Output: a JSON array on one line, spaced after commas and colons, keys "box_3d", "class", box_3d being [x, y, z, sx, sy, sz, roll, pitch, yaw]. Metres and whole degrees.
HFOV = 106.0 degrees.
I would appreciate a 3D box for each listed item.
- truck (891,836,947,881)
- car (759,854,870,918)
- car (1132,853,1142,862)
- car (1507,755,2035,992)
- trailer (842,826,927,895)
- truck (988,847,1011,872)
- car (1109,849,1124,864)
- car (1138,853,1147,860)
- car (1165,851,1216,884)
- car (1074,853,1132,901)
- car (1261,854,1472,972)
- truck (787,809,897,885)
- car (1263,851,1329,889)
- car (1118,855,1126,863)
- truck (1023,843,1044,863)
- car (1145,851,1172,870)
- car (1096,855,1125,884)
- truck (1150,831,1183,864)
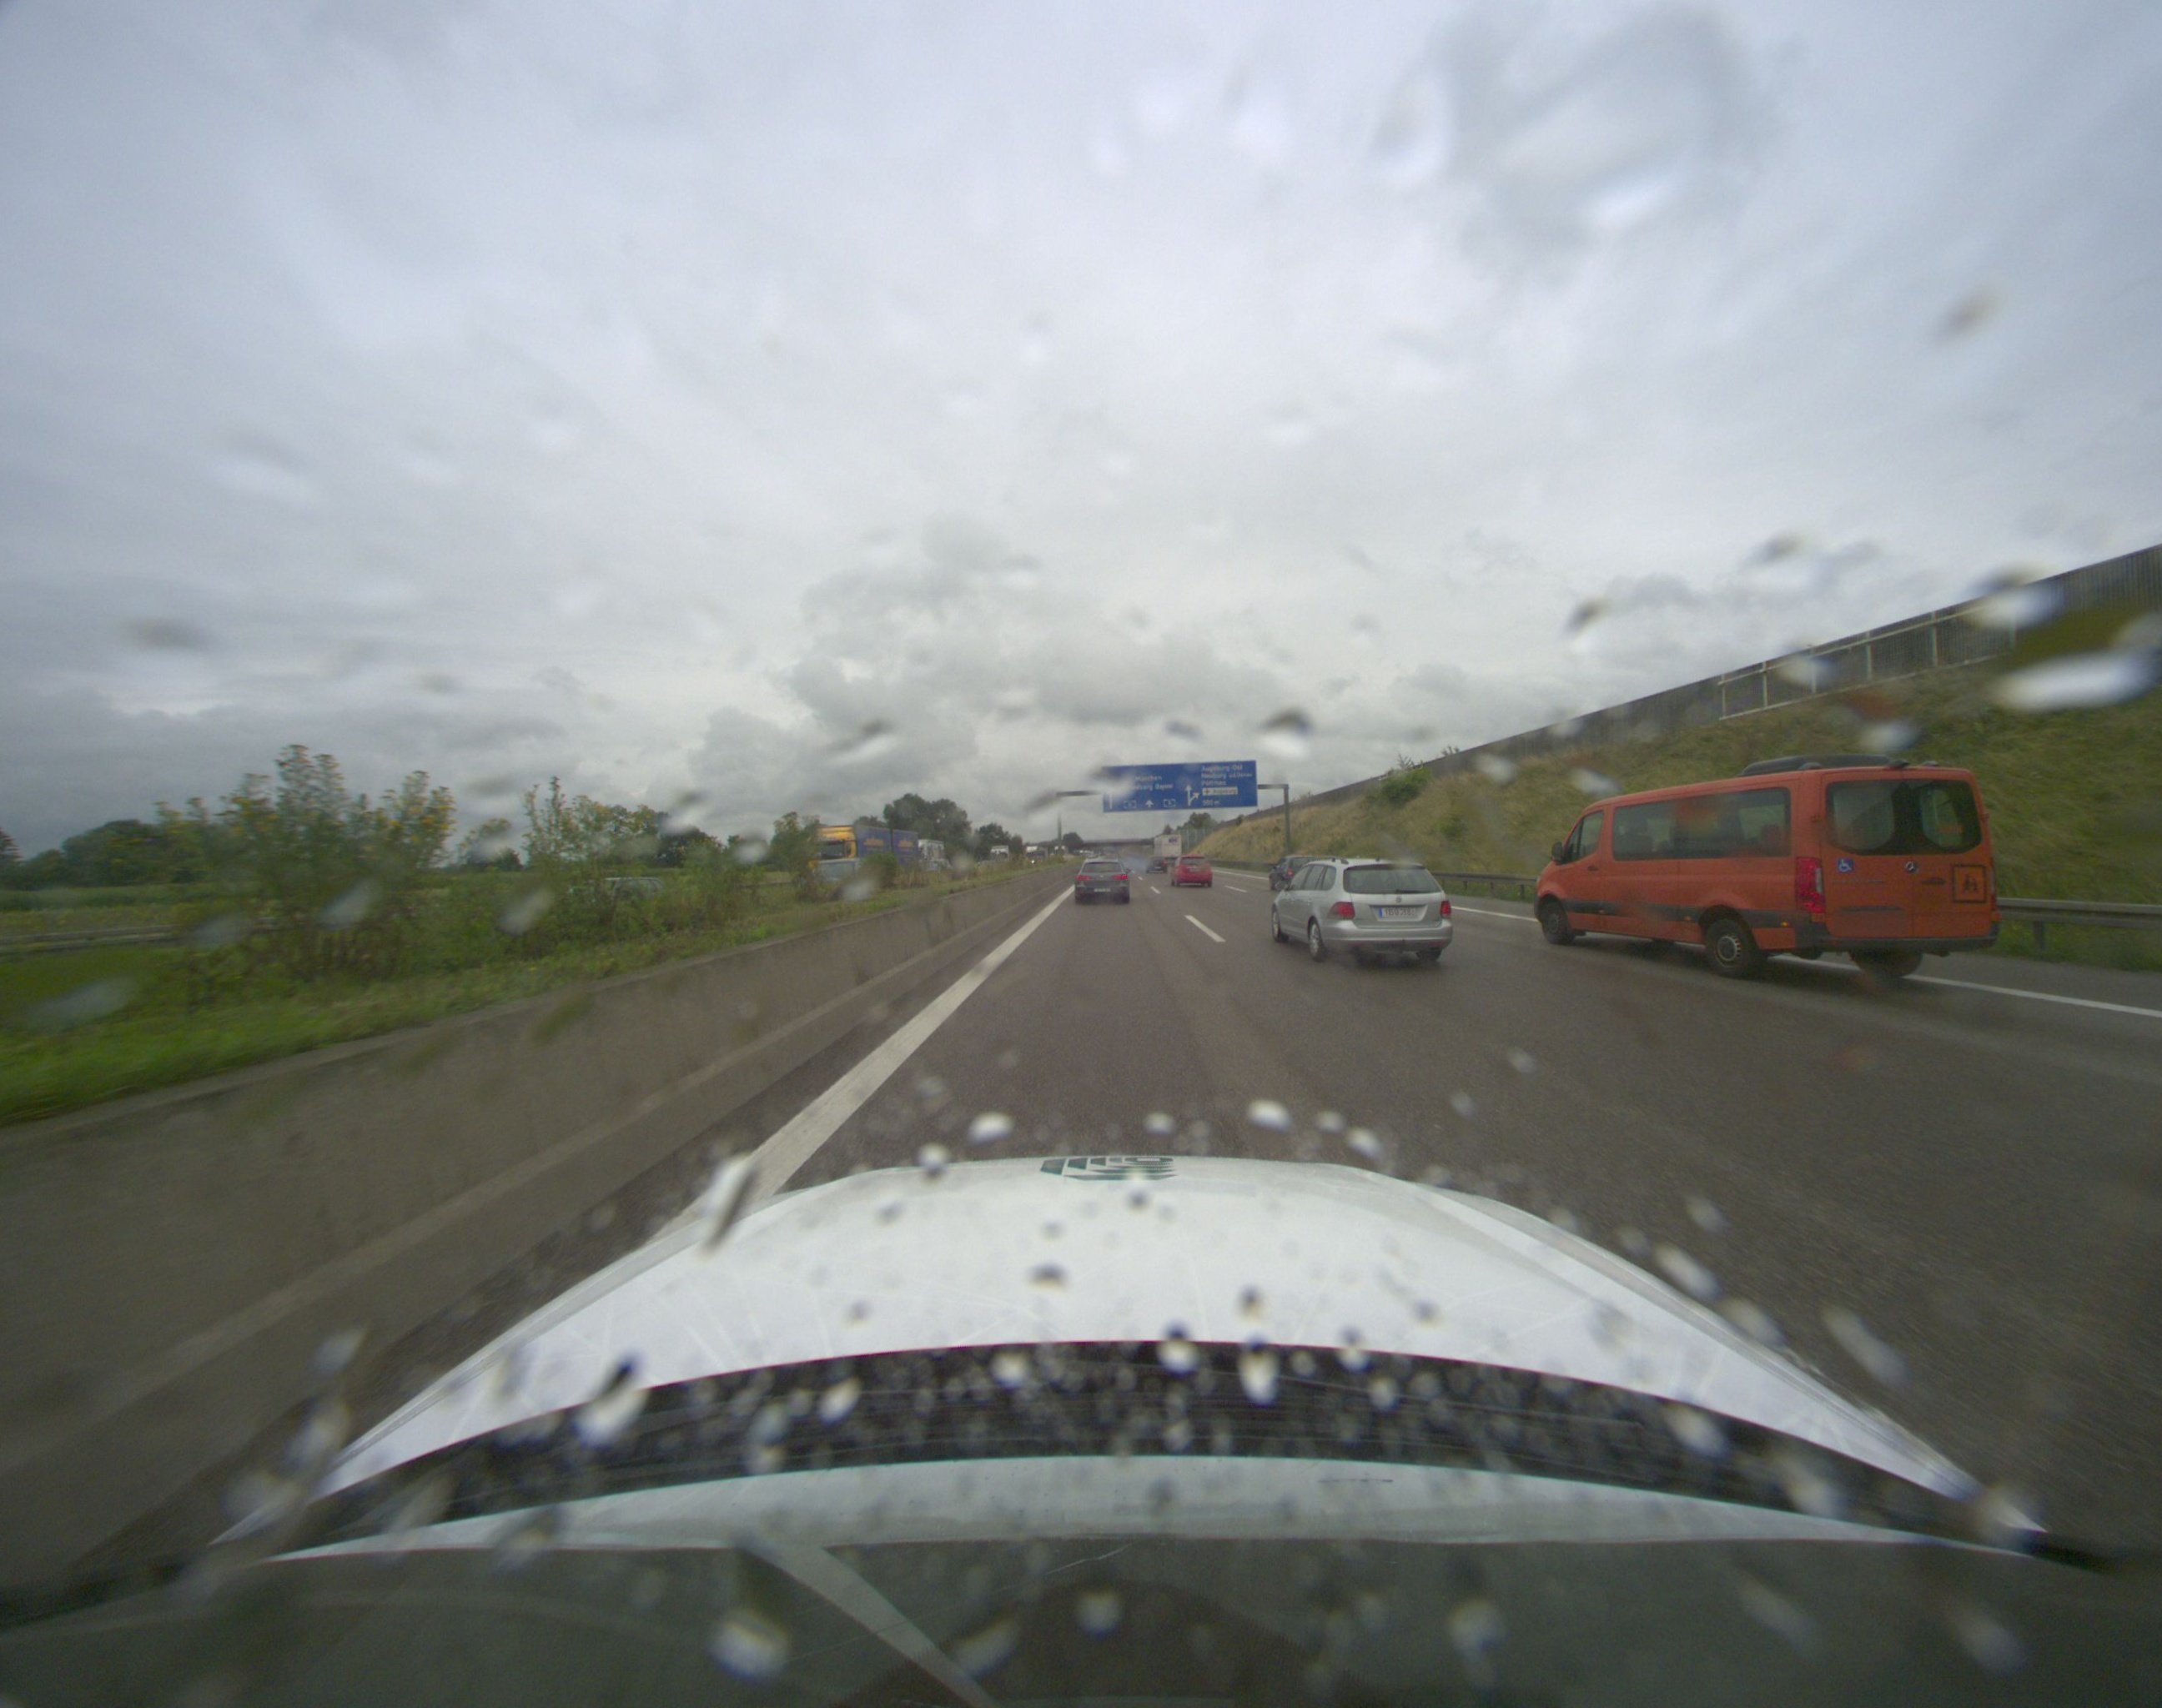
[{"box_3d": [-17.149, 0.455, 87.299, 3.500, 4.484, 11.788, 0, 0, 1], "class": "truck"}, {"box_3d": [-8.110, 0.915, 25.153, 1.986, 1.816, 4.002, 0, 0, 2], "class": "car"}, {"box_3d": [10.338, 0.657, 150.611, 1.839, 1.687, 4.001, 0, 0, 1], "class": "car"}, {"box_3d": [8.509, 0.188, 11.225, 2.078, 2.315, 6.182, -1, 0, 1], "class": "car"}, {"box_3d": [-14.731, 0.416, 62.301, 3.375, 4.768, 11.683, 0, 0, 1], "class": "trailer"}, {"box_3d": [-12.574, 0.782, 125.906, 2.630, 3.725, 5.875, 0, 1, 2], "class": "truck"}, {"box_3d": [4.362, 0.288, 100.432, 1.699, 1.796, 3.855, -3, 0, 0], "class": "car"}, {"box_3d": [17.014, 0.805, 225.388, 1.987, 1.860, 4.389, -2, 0, -1], "class": "car"}, {"box_3d": [5.199, 0.620, 39.099, 1.884, 1.446, 4.686, -1, 0, 1], "class": "car"}, {"box_3d": [0.697, 0.710, 26.659, 1.762, 1.467, 4.000, 0, 0, 1], "class": "car"}, {"box_3d": [4.101, 0.749, 12.531, 1.735, 1.425, 4.518, -2, 0, 1], "class": "car"}, {"box_3d": [-15.047, -0.379, 52.519, 3.399, 4.364, 10.996, 0, 0, 2], "class": "truck"}, {"box_3d": [8.453, 0.622, 32.315, 1.696, 1.401, 3.877, 0, 0, 2], "class": "car"}, {"box_3d": [10.488, 1.161, 208.236, 1.986, 2.014, 4.244, 0, 0, 2], "class": "car"}, {"box_3d": [-10.074, -0.175, 172.341, 3.601, 4.274, 7.596, 0, -1, 2], "class": "truck"}, {"box_3d": [6.490, 0.516, 68.261, 1.914, 1.522, 4.624, -1, 0, 2], "class": "car"}, {"box_3d": [1.879, 0.951, 51.650, 1.748, 1.750, 4.001, 0, 0, 2], "class": "car"}, {"box_3d": [11.788, -0.788, 114.178, 3.271, 4.295, 19.041, 0, 0, 2], "class": "truck"}]
